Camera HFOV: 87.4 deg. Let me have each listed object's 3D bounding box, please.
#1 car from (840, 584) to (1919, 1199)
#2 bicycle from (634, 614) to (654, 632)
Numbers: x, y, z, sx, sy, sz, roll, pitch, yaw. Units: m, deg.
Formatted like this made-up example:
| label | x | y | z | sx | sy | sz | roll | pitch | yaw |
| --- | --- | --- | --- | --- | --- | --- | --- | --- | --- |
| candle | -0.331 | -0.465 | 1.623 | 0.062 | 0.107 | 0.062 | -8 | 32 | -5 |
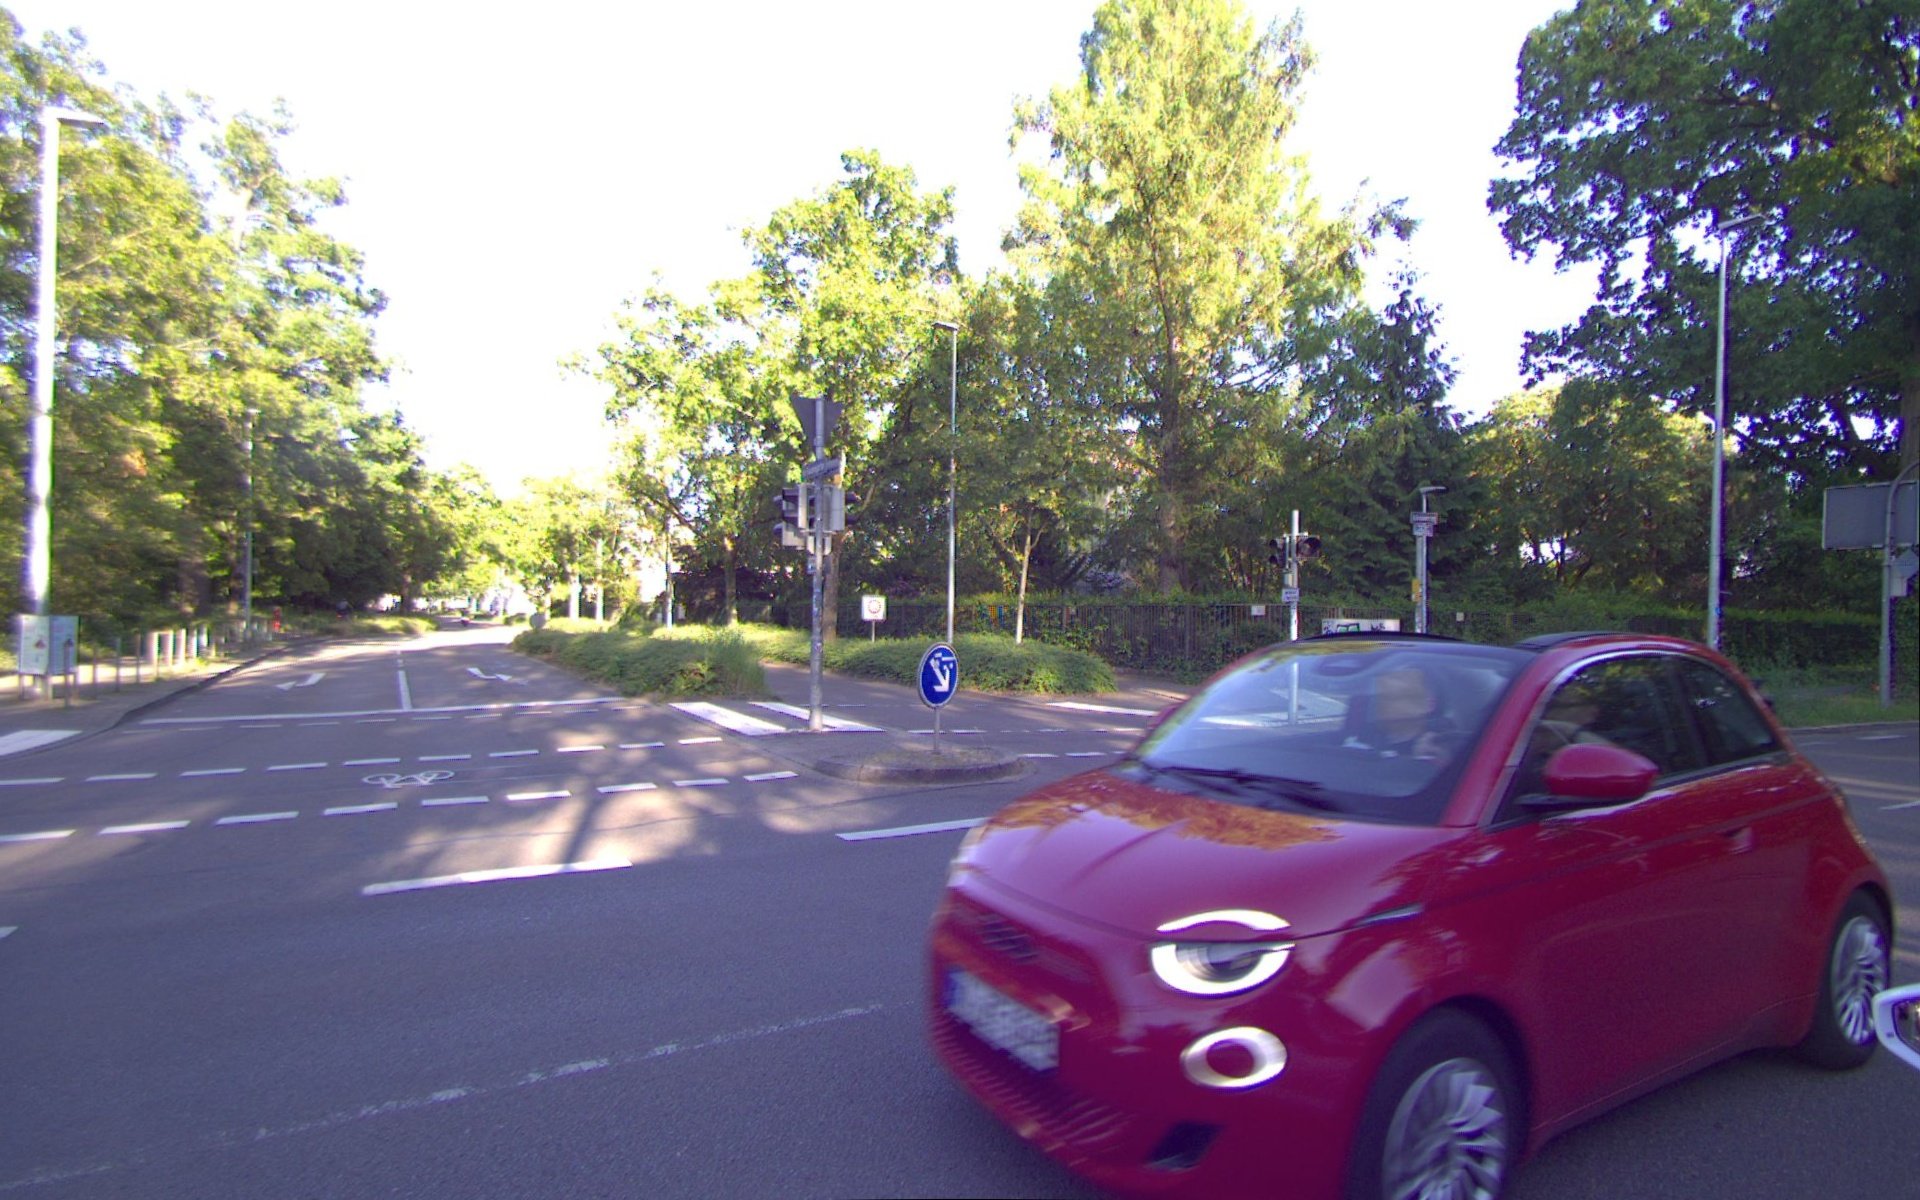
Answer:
| label | x | y | z | sx | sy | sz | roll | pitch | yaw |
| --- | --- | --- | --- | --- | --- | --- | --- | --- | --- |
| car | 1.581 | 0.785 | 3.494 | 3.597 | 1.475 | 1.742 | 2 | -3 | -30 |
| bicycle | -22.183 | 1.617 | 70.493 | 0.869 | 1.216 | 2.324 | 0 | 0 | -5 |
